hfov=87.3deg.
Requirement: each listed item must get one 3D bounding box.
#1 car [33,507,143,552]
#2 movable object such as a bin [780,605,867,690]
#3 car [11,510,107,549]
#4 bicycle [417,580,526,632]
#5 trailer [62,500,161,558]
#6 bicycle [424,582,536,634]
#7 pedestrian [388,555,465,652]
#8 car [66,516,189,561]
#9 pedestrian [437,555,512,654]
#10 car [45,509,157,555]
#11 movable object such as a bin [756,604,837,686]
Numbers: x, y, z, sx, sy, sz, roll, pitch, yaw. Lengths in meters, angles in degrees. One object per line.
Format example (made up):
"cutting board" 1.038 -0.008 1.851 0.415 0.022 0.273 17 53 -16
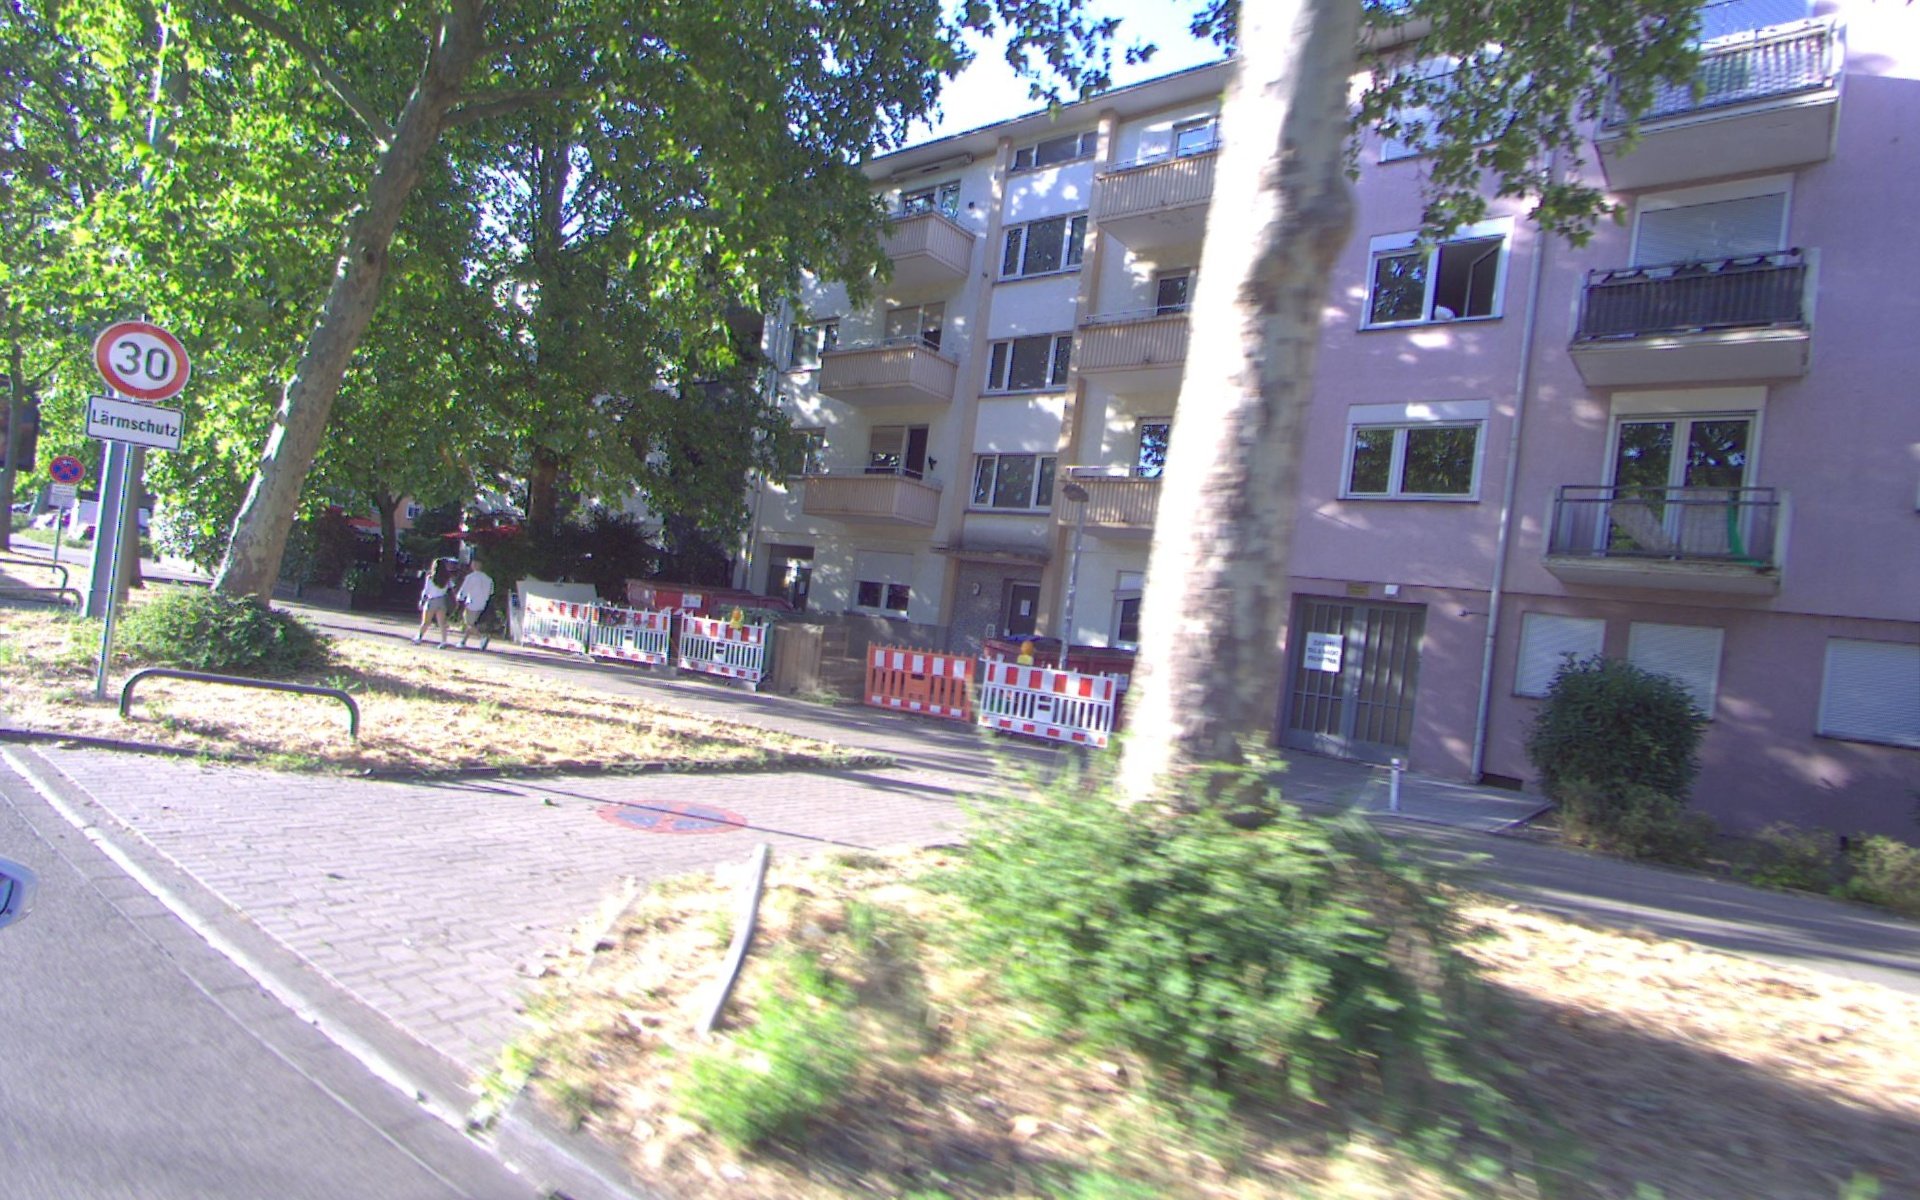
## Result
"car" -44.501 -3.602 51.394 1.682 1.656 3.917 6 -2 40
"movable object such as a bin" -2.634 0.920 19.402 1.285 1.451 0.833 8 -1 -30
"car" -52.793 -4.122 58.972 1.682 1.607 3.917 6 -2 40
"bicycle" -12.630 0.181 26.068 2.368 1.035 0.656 9 -3 -43
"trailer" -38.988 -3.251 46.255 1.853 2.093 3.061 6 -2 42
"bicycle" -12.027 0.213 25.274 2.368 1.036 0.656 8 -2 -44
"pedestrian" -9.549 0.070 18.010 0.804 1.591 0.790 7 -1 36
"car" -36.909 -2.719 44.664 1.683 1.352 3.916 6 -2 41
"pedestrian" -8.980 0.092 18.609 0.804 1.687 0.790 7 -1 36
"car" -42.648 -3.372 49.995 1.682 1.655 3.917 6 -2 40
"movable object such as a bin" -3.289 0.893 20.183 1.282 1.451 0.835 8 -1 -23
